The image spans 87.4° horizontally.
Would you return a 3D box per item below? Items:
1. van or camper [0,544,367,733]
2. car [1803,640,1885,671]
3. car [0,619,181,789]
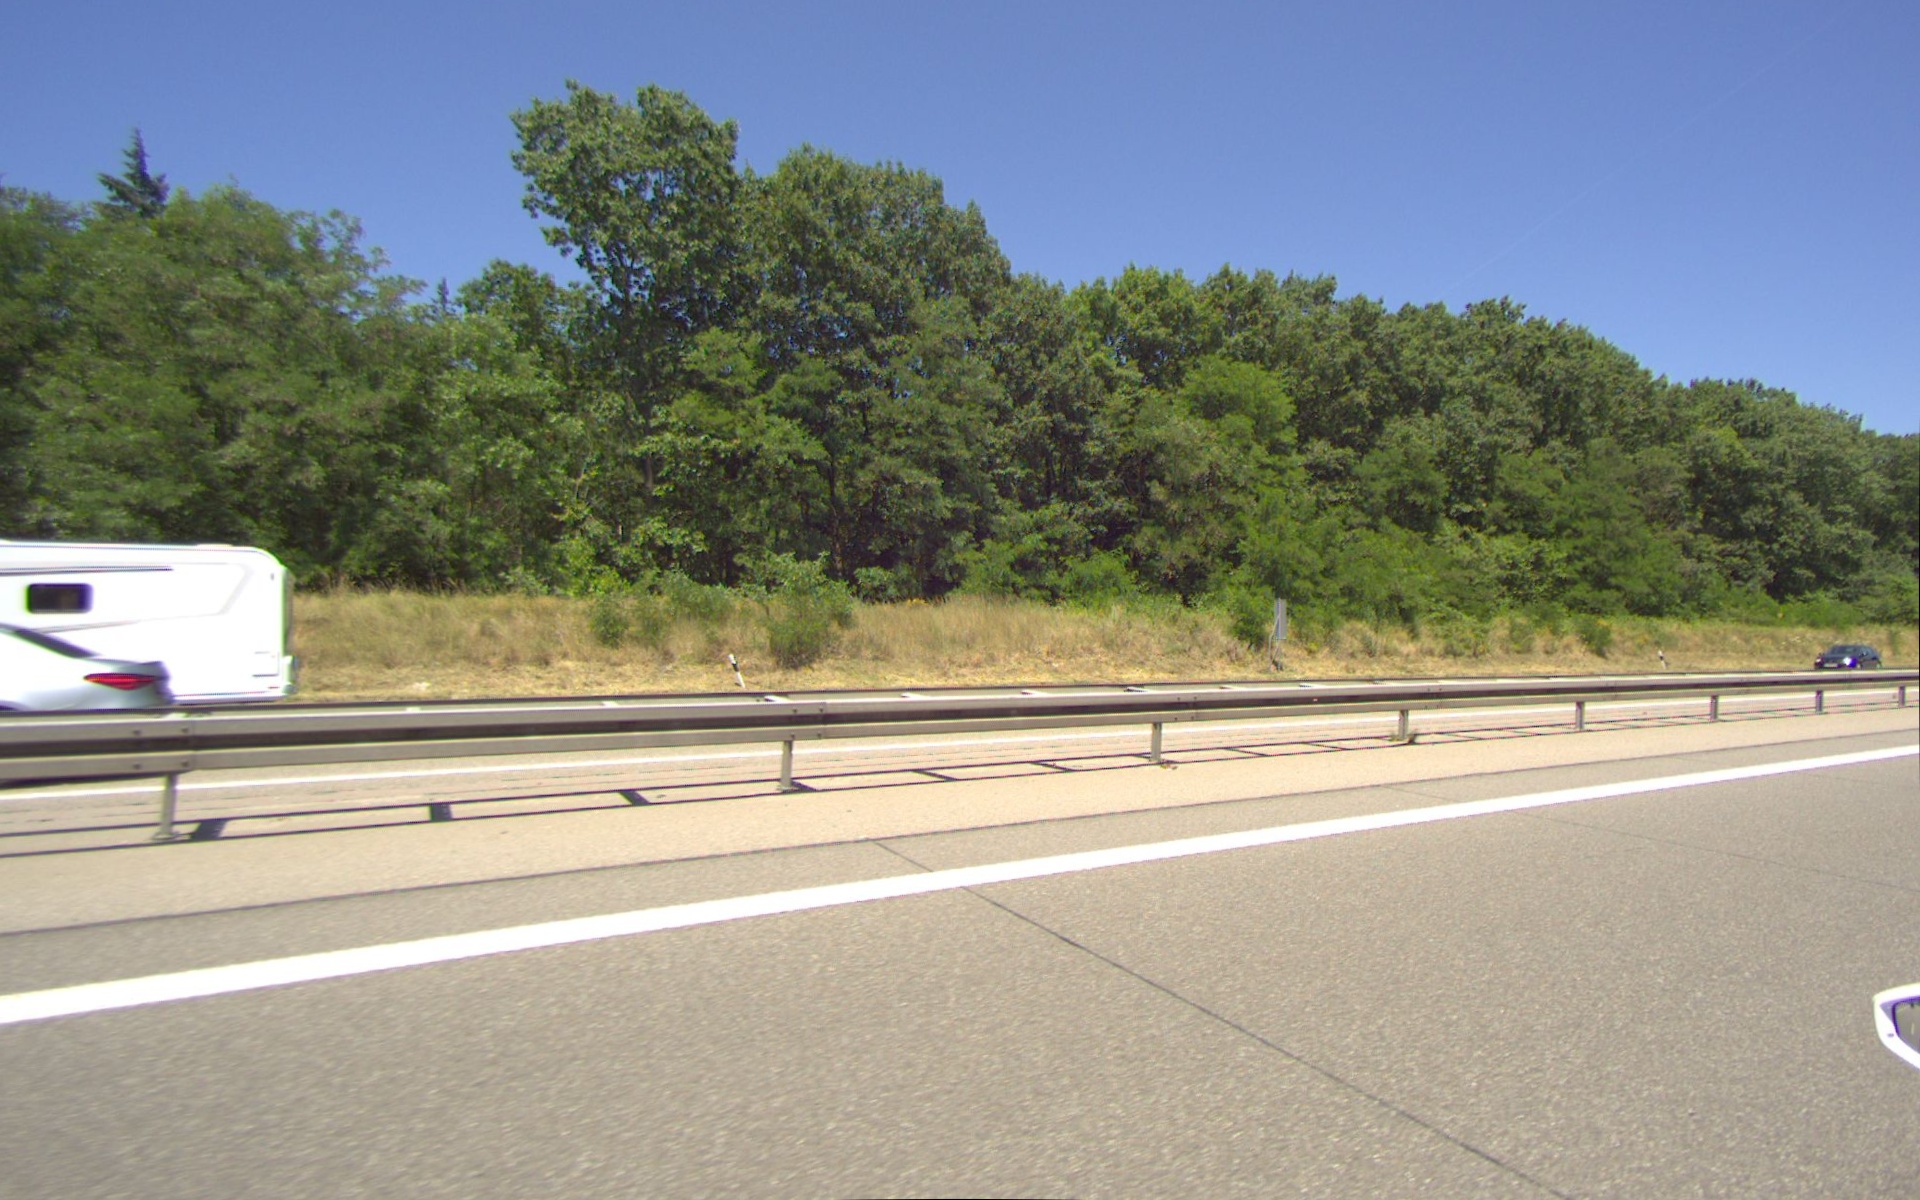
[{"bbox_3d":[-13.421,0.597,15.091,7.679,2.608,2.451,1,-3,-30],"label":"van or camper"},{"bbox_3d":[43.239,2.705,49.136,4.063,1.413,1.806,1,-3,-30],"label":"car"},{"bbox_3d":[-9.402,0.872,8.398,4.301,1.391,1.829,1,-3,-30],"label":"car"}]
